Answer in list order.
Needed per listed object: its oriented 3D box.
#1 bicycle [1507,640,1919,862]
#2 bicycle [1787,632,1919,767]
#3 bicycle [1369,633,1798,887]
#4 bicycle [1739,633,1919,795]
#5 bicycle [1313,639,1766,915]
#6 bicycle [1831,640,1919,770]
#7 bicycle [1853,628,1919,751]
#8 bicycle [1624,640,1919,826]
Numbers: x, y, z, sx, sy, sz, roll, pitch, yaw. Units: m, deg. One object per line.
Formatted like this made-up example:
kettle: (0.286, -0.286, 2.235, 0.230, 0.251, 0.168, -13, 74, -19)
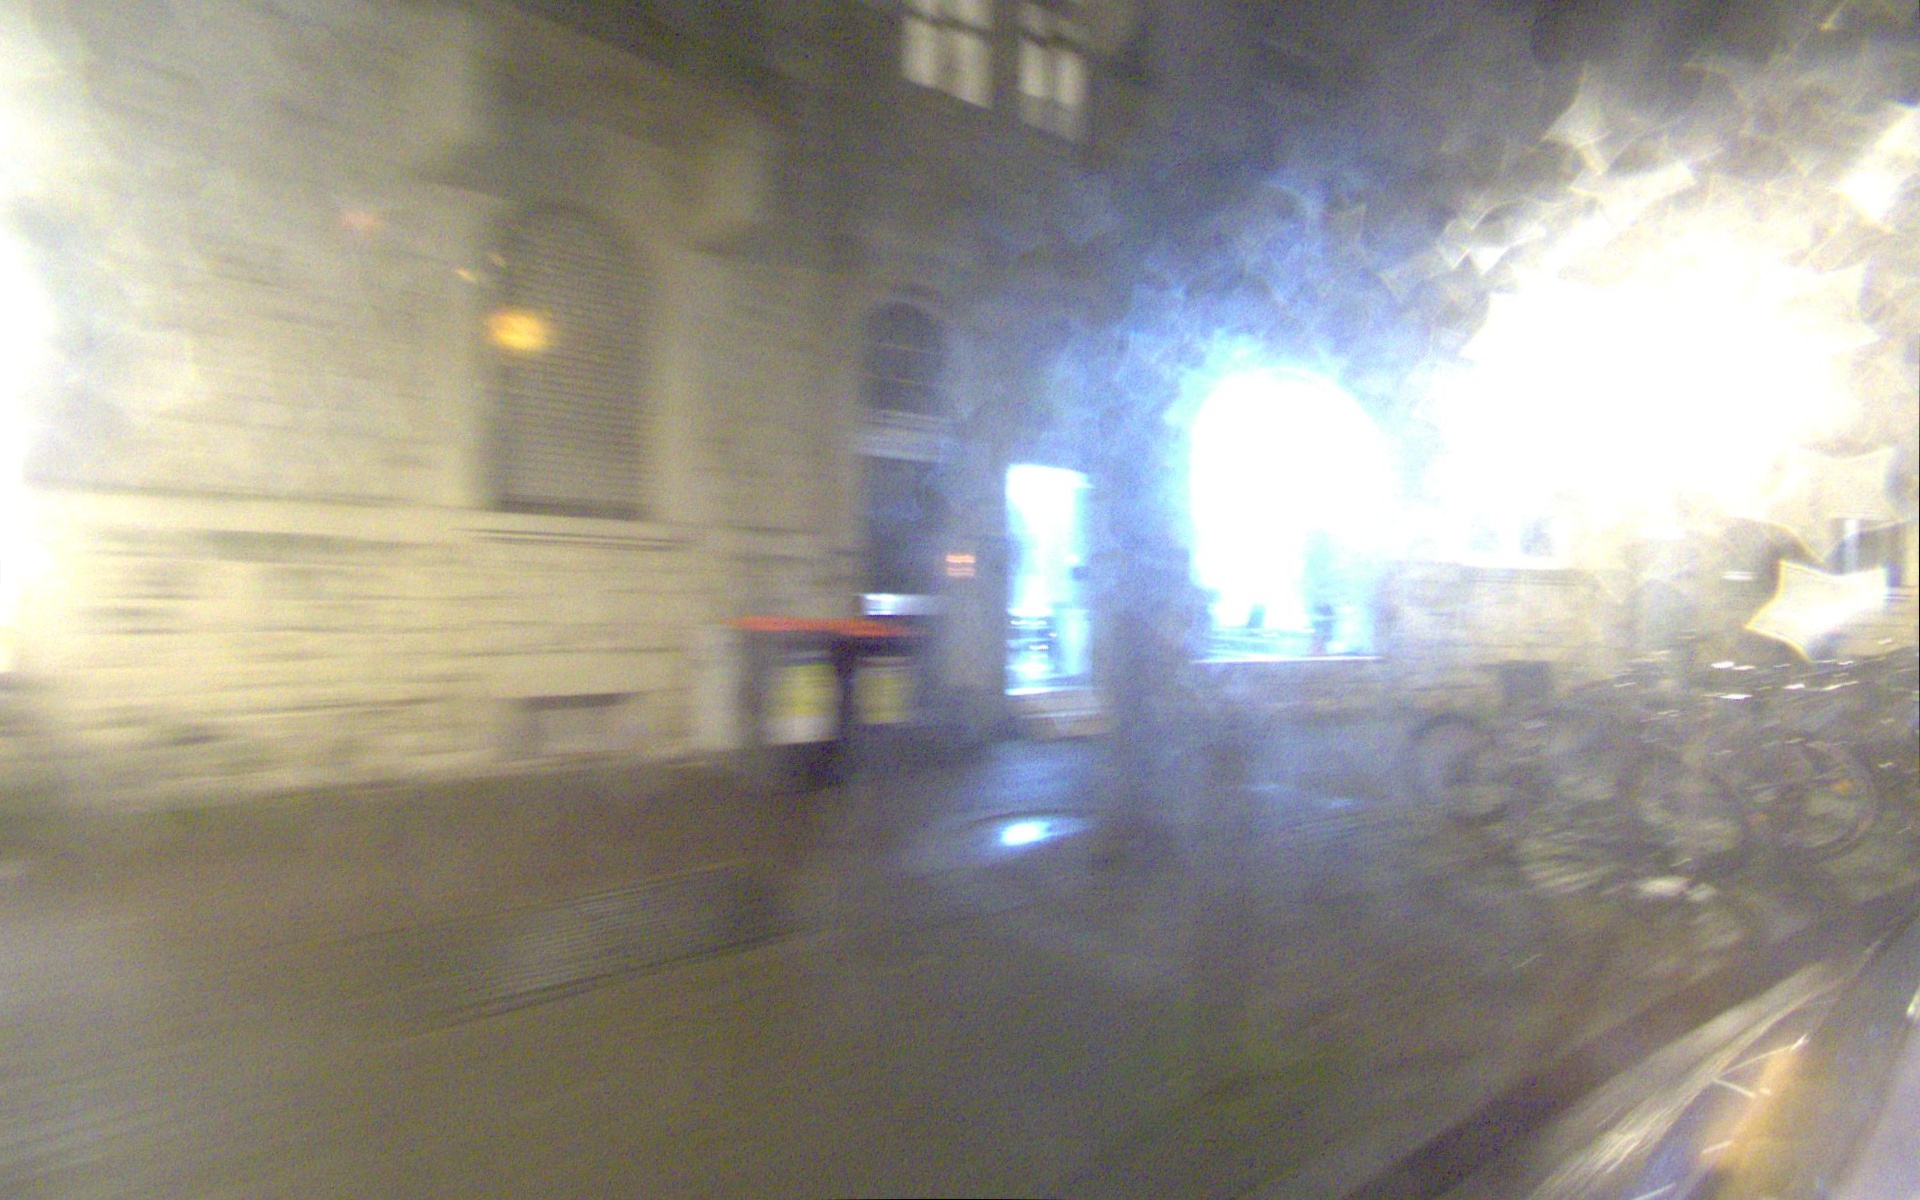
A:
bicycle: (4.543, 0.827, 6.285, 0.629, 1.019, 1.978, 1, 1, -28)
bicycle: (8.361, 0.868, 8.616, 0.631, 1.066, 1.971, 0, 1, -43)
bicycle: (3.338, 0.767, 5.665, 0.629, 1.047, 1.978, 1, 1, -28)
bicycle: (7.058, 0.844, 7.459, 0.629, 1.078, 1.978, 1, 1, -28)
bicycle: (2.833, 0.777, 5.230, 0.629, 1.019, 1.978, 1, 1, -28)
bicycle: (8.266, 0.905, 8.222, 0.630, 1.019, 1.975, 1, 1, 0)
bicycle: (9.324, 0.852, 9.070, 0.706, 1.100, 1.828, 1, 1, -28)
bicycle: (5.801, 0.849, 6.967, 0.629, 1.019, 1.978, 1, 1, -28)
